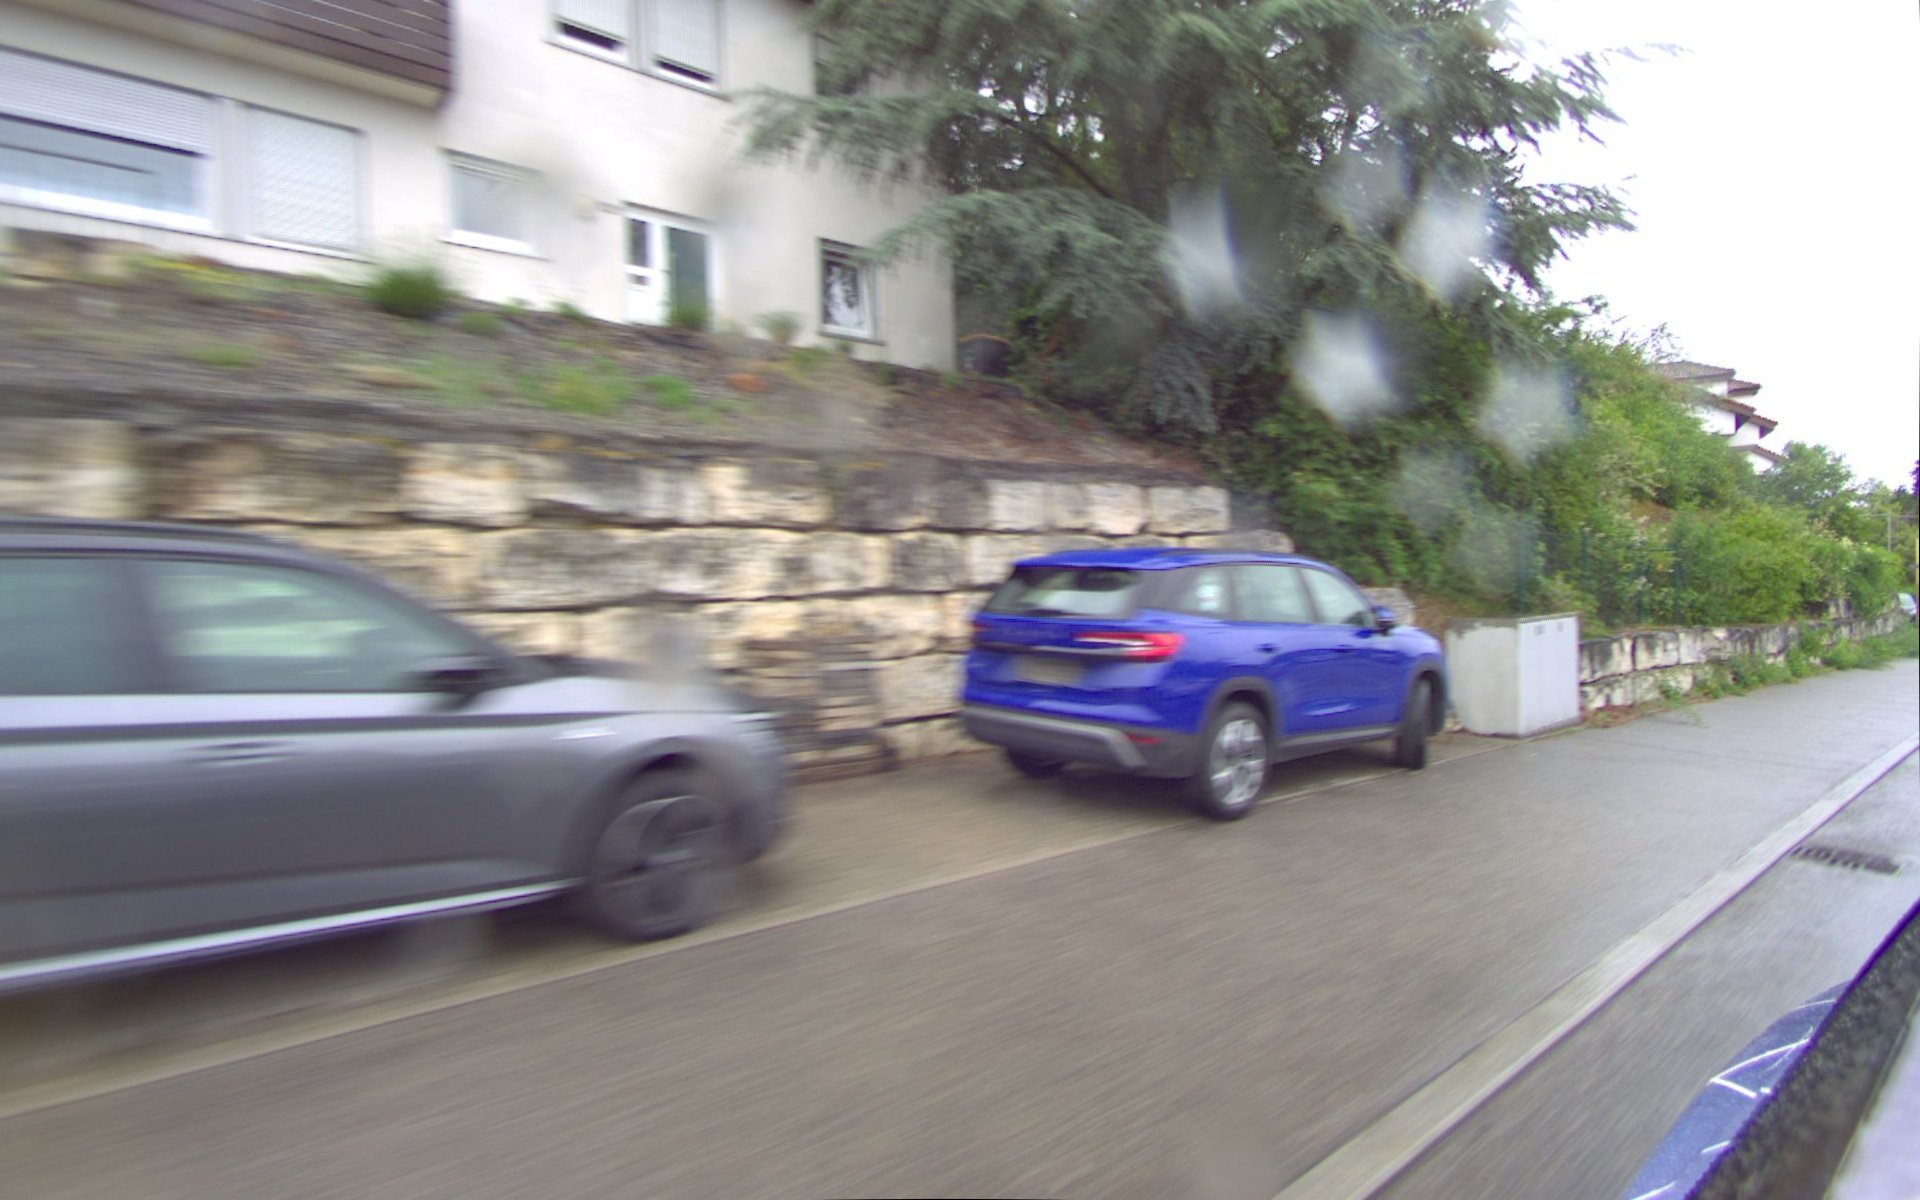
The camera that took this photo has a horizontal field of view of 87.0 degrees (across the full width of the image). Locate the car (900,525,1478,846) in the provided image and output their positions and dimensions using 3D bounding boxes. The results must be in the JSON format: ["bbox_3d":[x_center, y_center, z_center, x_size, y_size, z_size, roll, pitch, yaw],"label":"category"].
[{"bbox_3d":[1.921,0.388,7.572,4.467,1.690,1.997,0,3,-42],"label":"car"}]

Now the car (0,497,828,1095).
[{"bbox_3d":[-2.654,0.474,3.739,3.940,1.582,1.814,0,3,-40],"label":"car"}]

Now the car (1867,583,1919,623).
[{"bbox_3d":[37.691,0.108,40.546,1.702,1.472,3.966,3,2,38],"label":"car"}]
